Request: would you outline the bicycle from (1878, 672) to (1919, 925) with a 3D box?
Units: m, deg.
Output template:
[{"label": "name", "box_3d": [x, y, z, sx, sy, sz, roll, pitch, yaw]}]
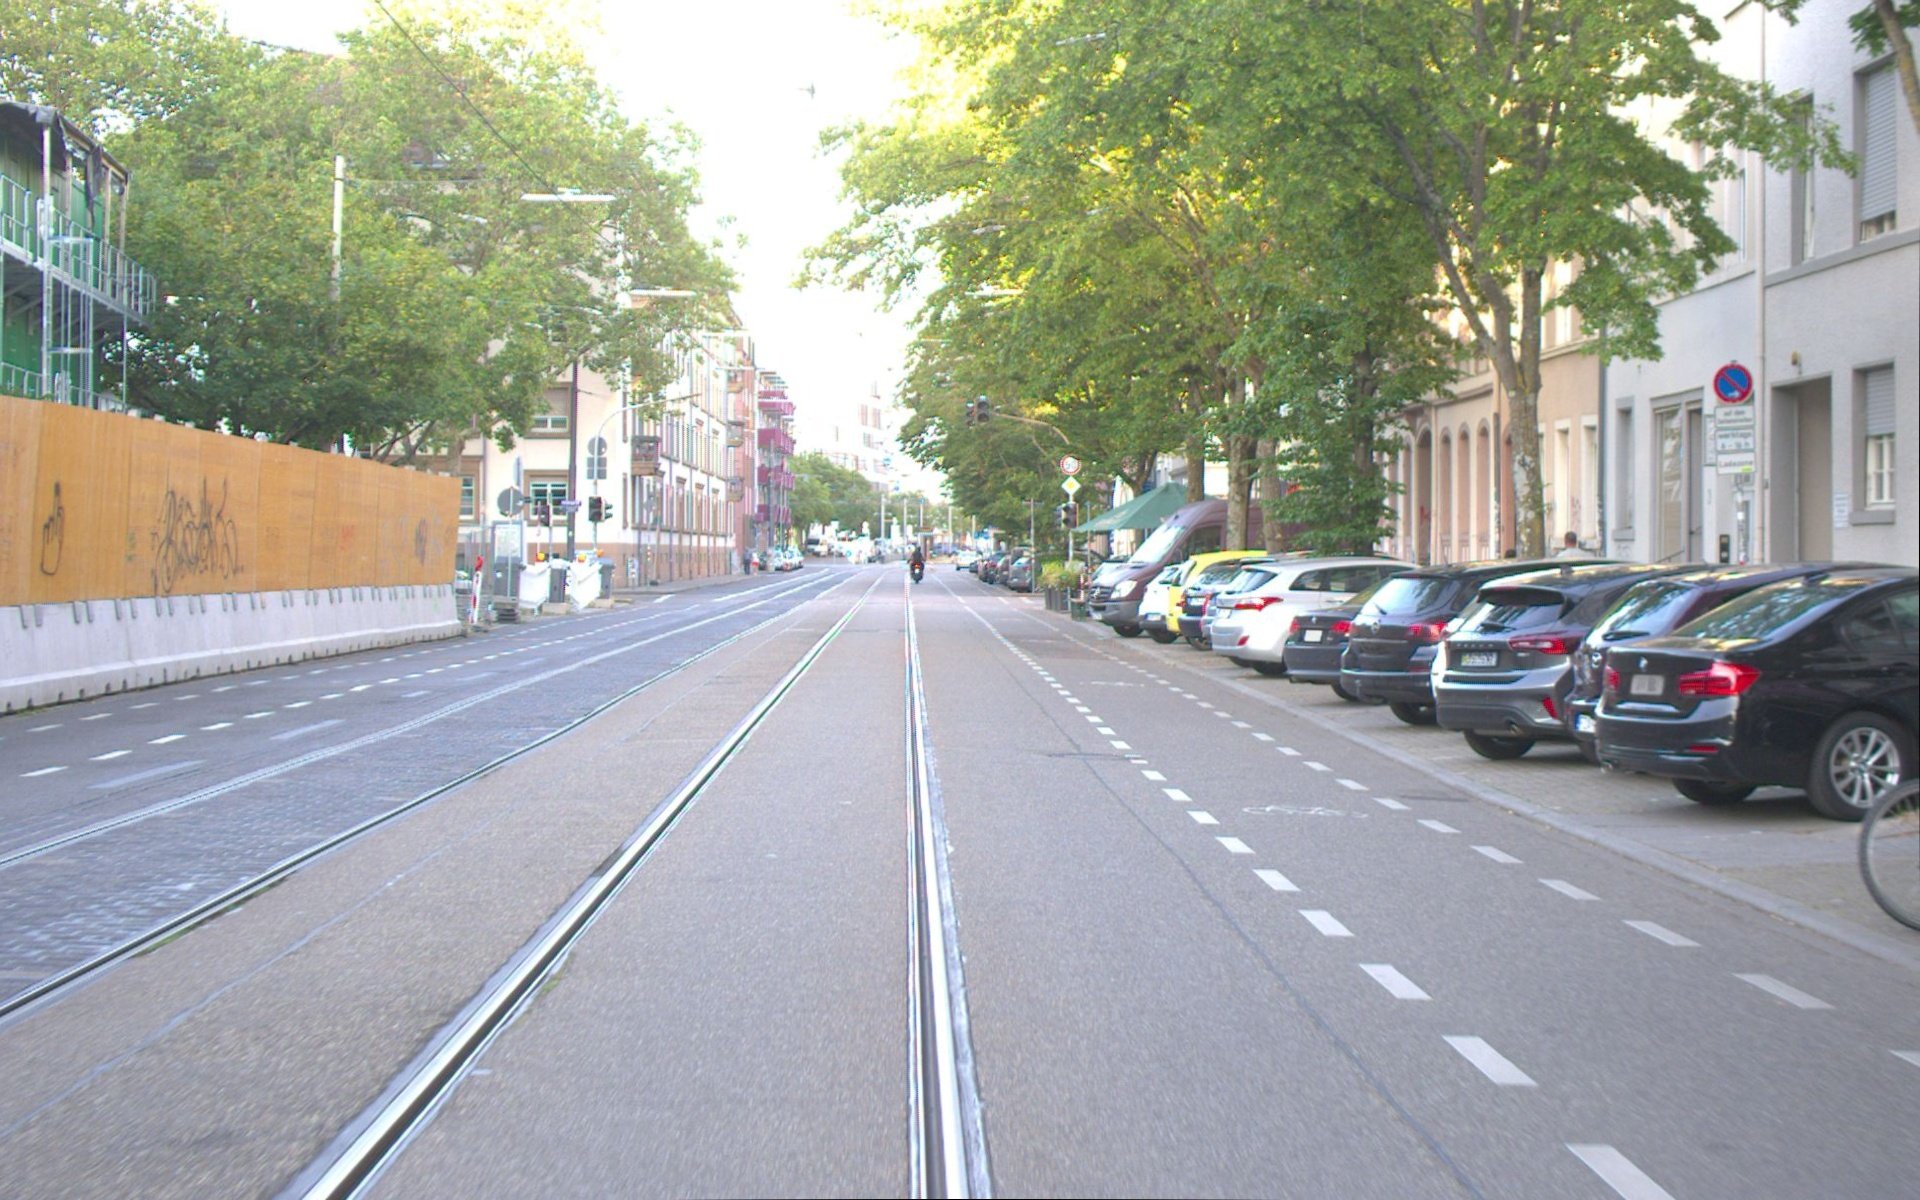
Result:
[{"label": "bicycle", "box_3d": [4.921, 0.791, 14.516, 1.903, 1.028, 0.533, -3, 1, -2]}]

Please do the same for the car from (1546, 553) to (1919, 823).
[{"label": "car", "box_3d": [5.920, 0.449, 21.110, 4.160, 1.421, 1.824, -3, 1, -19]}]

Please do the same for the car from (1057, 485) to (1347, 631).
[{"label": "car", "box_3d": [4.624, -0.817, 65.842, 5.093, 2.633, 2.022, -2, 1, -17]}]

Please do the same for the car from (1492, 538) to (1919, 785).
[{"label": "car", "box_3d": [5.958, 0.363, 23.857, 3.948, 1.465, 2.002, -3, 1, -17]}]

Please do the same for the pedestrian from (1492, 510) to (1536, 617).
[{"label": "pedestrian", "box_3d": [8.134, -0.539, 50.498, 0.538, 1.563, 0.813, 0, 1, 1]}]

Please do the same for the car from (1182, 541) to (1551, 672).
[{"label": "car", "box_3d": [5.166, 0.060, 43.970, 4.249, 1.543, 2.020, -1, 1, -11]}]

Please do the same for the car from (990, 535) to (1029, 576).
[{"label": "car", "box_3d": [2.479, -2.269, 173.610, 1.804, 2.007, 4.000, 1, 1, -1]}]

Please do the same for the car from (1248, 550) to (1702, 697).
[{"label": "car", "box_3d": [5.374, 0.215, 35.900, 4.249, 1.387, 2.016, -2, 1, -24]}]

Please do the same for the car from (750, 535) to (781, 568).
[{"label": "car", "box_3d": [-13.476, -3.362, 238.130, 1.898, 2.171, 4.000, 1, 1, -1]}]

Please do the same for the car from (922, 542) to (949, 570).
[{"label": "car", "box_3d": [-1.800, -3.214, 253.051, 1.898, 2.007, 4.000, 1, 1, -1]}]

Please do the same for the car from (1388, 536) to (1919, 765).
[{"label": "car", "box_3d": [5.547, 0.336, 26.226, 4.115, 1.465, 1.824, -3, 1, -22]}]

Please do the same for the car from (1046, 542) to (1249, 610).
[{"label": "car", "box_3d": [4.314, -0.554, 79.059, 4.174, 1.493, 2.009, -1, 0, -25]}]

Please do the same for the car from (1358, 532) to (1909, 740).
[{"label": "car", "box_3d": [5.661, 0.263, 28.902, 4.115, 1.465, 1.987, -3, 2, -25]}]

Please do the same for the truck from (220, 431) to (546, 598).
[{"label": "truck", "box_3d": [-13.185, -1.955, 78.973, 7.056, 3.469, 2.542, 2, 1, -4]}]

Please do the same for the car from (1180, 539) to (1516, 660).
[{"label": "car", "box_3d": [5.407, -0.023, 47.963, 4.249, 1.555, 1.898, -2, 0, -23]}]

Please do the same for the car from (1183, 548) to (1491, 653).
[{"label": "car", "box_3d": [5.573, -0.004, 50.796, 4.120, 1.420, 1.898, -2, 0, -26]}]

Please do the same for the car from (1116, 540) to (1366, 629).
[{"label": "car", "box_3d": [5.000, -0.276, 61.199, 3.950, 1.481, 1.921, -2, 0, -24]}]

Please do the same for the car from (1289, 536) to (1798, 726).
[{"label": "car", "box_3d": [5.331, 0.246, 31.402, 4.115, 1.465, 2.016, -3, 2, -25]}]

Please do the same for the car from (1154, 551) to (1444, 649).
[{"label": "car", "box_3d": [5.330, -0.012, 54.088, 4.120, 1.420, 1.921, -2, 0, -26]}]

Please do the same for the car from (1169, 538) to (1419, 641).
[{"label": "car", "box_3d": [5.547, -0.181, 57.471, 3.950, 1.614, 1.921, -1, 0, 0]}]

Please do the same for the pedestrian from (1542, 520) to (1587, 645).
[{"label": "pedestrian", "box_3d": [8.810, -0.257, 50.108, 0.565, 1.808, 0.607, 0, 1, 2]}]
